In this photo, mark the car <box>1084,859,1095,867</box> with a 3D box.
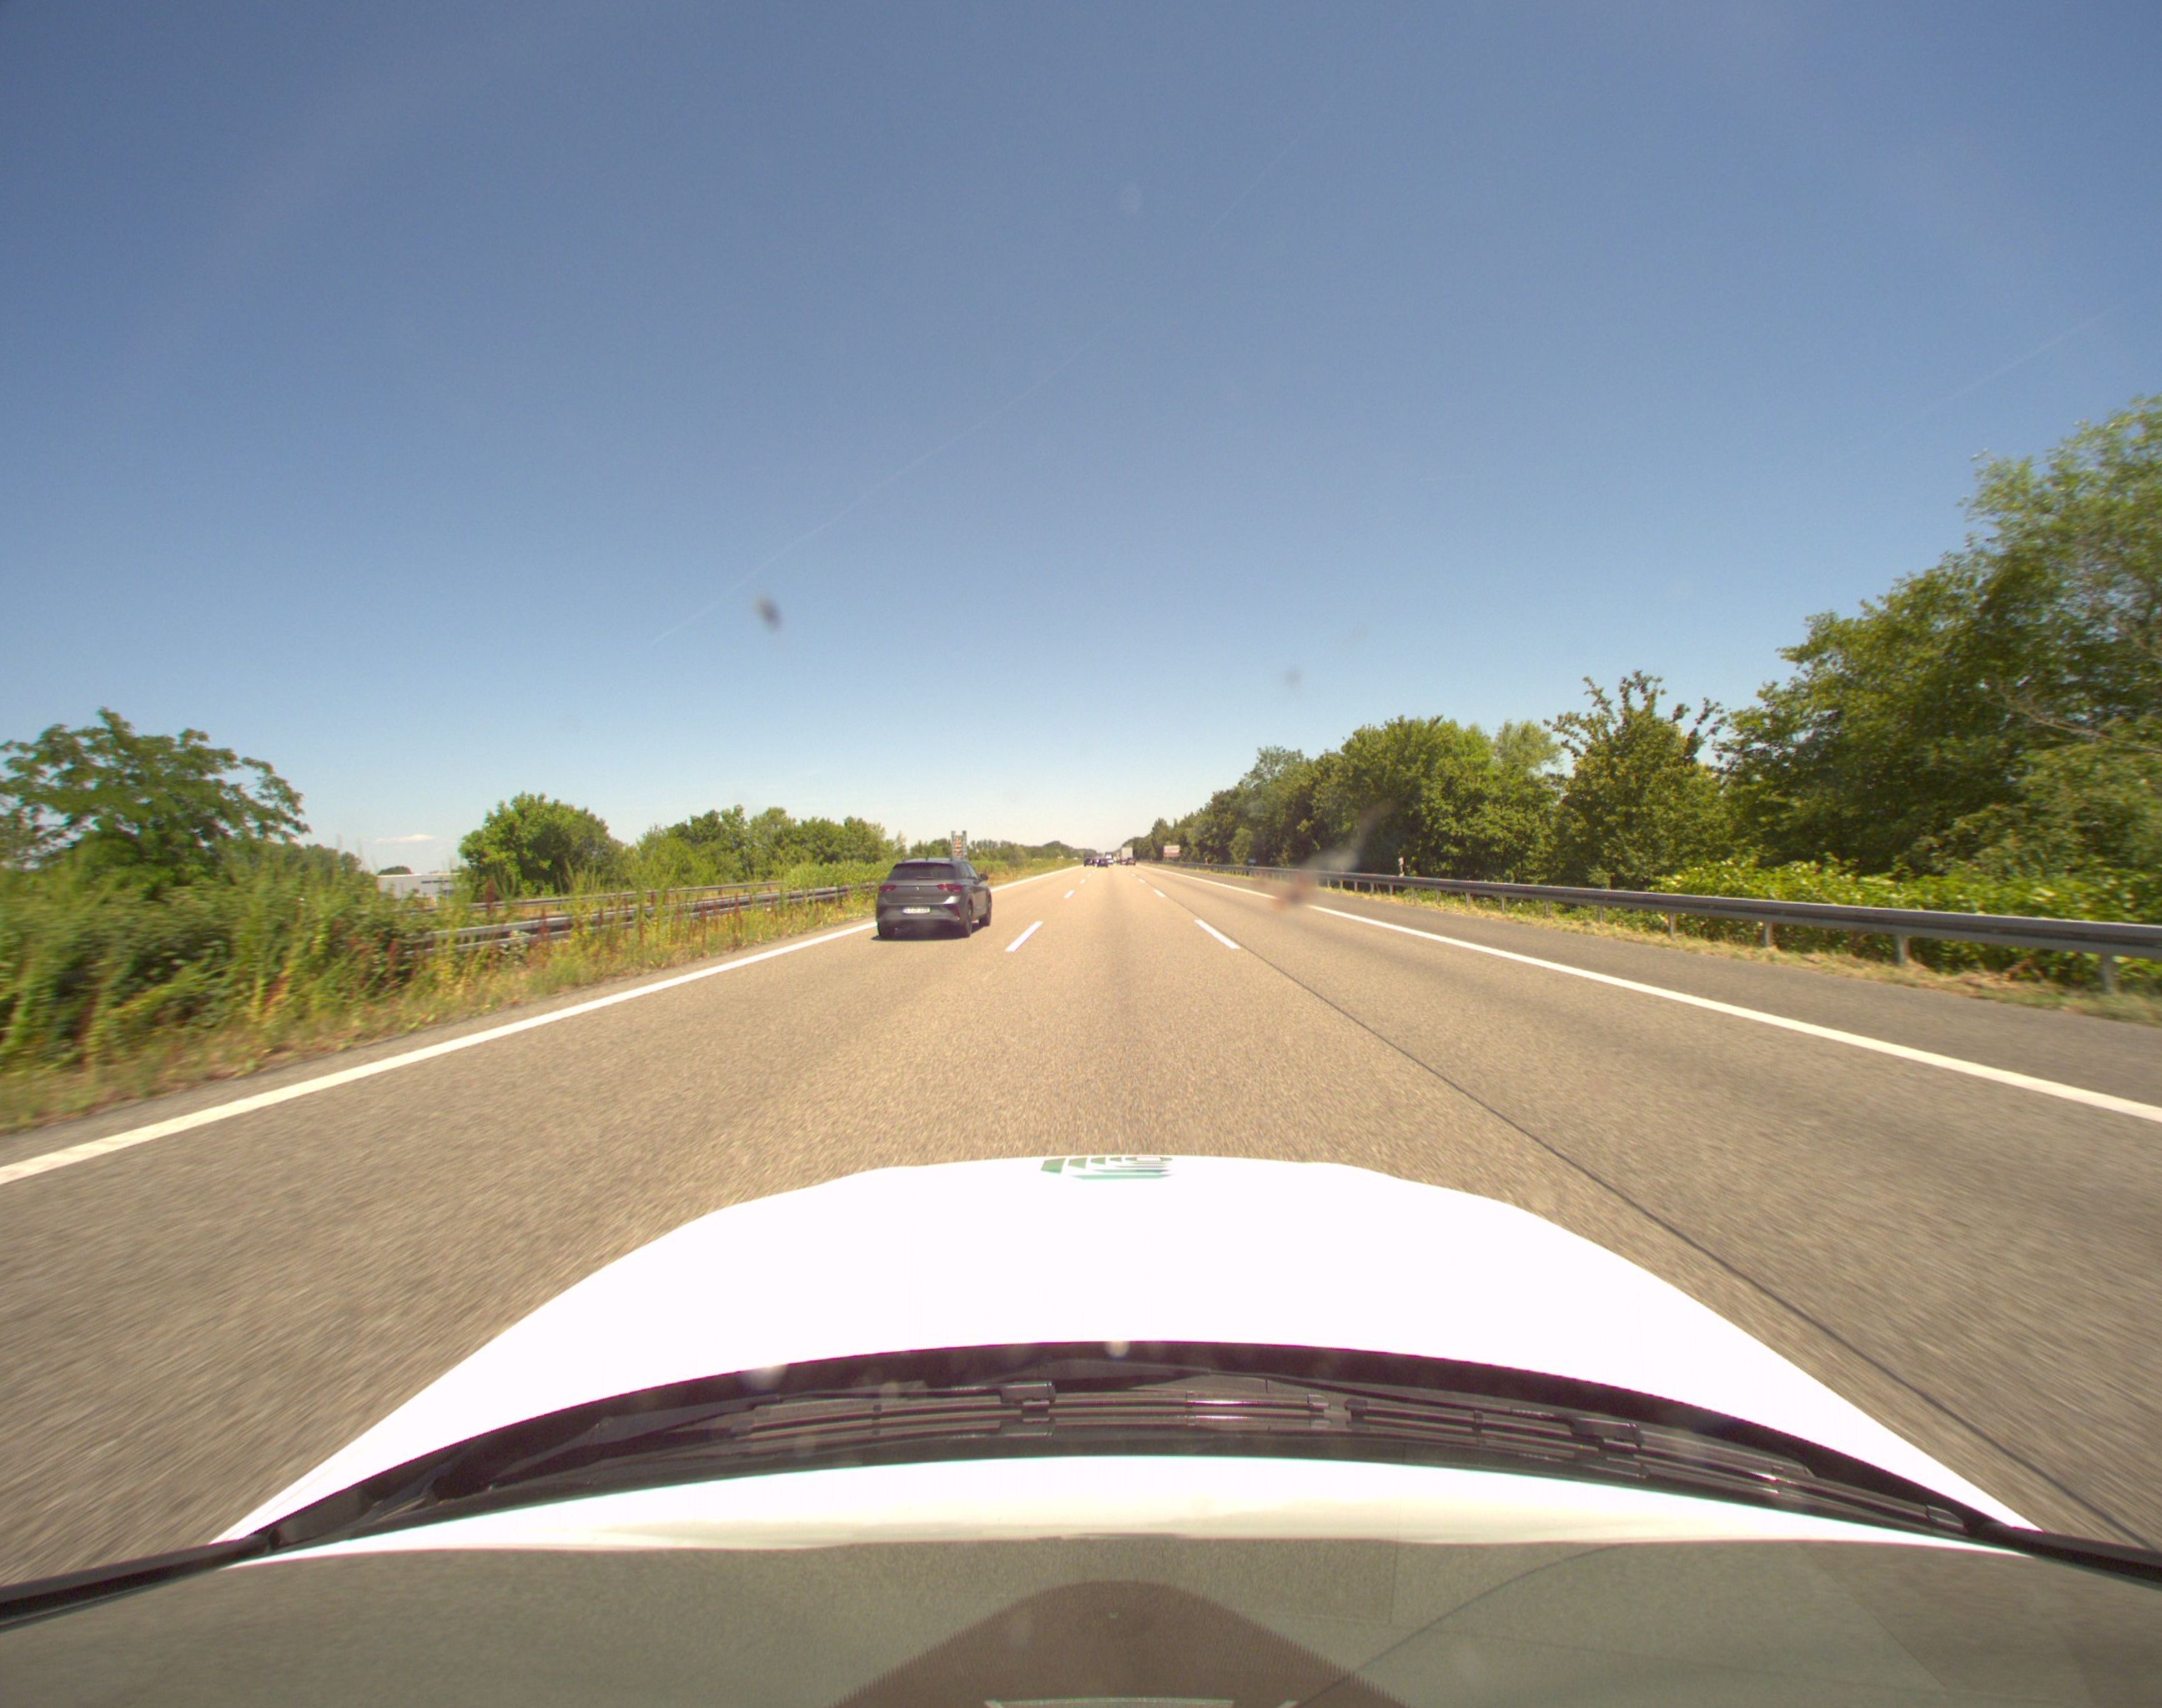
[{"bbox_3d":[1.637,1.662,154.074,1.900,1.531,4.287,0,0,2],"label":"car"}]

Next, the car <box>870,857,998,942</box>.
[{"bbox_3d":[-2.923,0.838,17.087,1.752,1.531,4.287,0,0,2],"label":"car"}]

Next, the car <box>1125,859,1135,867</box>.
[{"bbox_3d":[9.409,1.726,156.212,1.838,1.629,4.137,-2,-1,2],"label":"car"}]

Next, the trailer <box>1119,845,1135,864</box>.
[{"bbox_3d":[10.620,0.172,188.811,3.421,4.181,13.638,-1,-1,2],"label":"trailer"}]

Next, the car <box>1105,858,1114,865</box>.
[{"bbox_3d":[6.073,1.623,174.935,1.893,1.531,4.086,0,0,2],"label":"car"}]

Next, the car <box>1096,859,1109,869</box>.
[{"bbox_3d":[3.365,1.600,127.053,1.893,1.531,4.086,0,0,2],"label":"car"}]

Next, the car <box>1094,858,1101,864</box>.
[{"bbox_3d":[4.543,1.843,221.227,1.900,1.531,4.287,0,0,2],"label":"car"}]
